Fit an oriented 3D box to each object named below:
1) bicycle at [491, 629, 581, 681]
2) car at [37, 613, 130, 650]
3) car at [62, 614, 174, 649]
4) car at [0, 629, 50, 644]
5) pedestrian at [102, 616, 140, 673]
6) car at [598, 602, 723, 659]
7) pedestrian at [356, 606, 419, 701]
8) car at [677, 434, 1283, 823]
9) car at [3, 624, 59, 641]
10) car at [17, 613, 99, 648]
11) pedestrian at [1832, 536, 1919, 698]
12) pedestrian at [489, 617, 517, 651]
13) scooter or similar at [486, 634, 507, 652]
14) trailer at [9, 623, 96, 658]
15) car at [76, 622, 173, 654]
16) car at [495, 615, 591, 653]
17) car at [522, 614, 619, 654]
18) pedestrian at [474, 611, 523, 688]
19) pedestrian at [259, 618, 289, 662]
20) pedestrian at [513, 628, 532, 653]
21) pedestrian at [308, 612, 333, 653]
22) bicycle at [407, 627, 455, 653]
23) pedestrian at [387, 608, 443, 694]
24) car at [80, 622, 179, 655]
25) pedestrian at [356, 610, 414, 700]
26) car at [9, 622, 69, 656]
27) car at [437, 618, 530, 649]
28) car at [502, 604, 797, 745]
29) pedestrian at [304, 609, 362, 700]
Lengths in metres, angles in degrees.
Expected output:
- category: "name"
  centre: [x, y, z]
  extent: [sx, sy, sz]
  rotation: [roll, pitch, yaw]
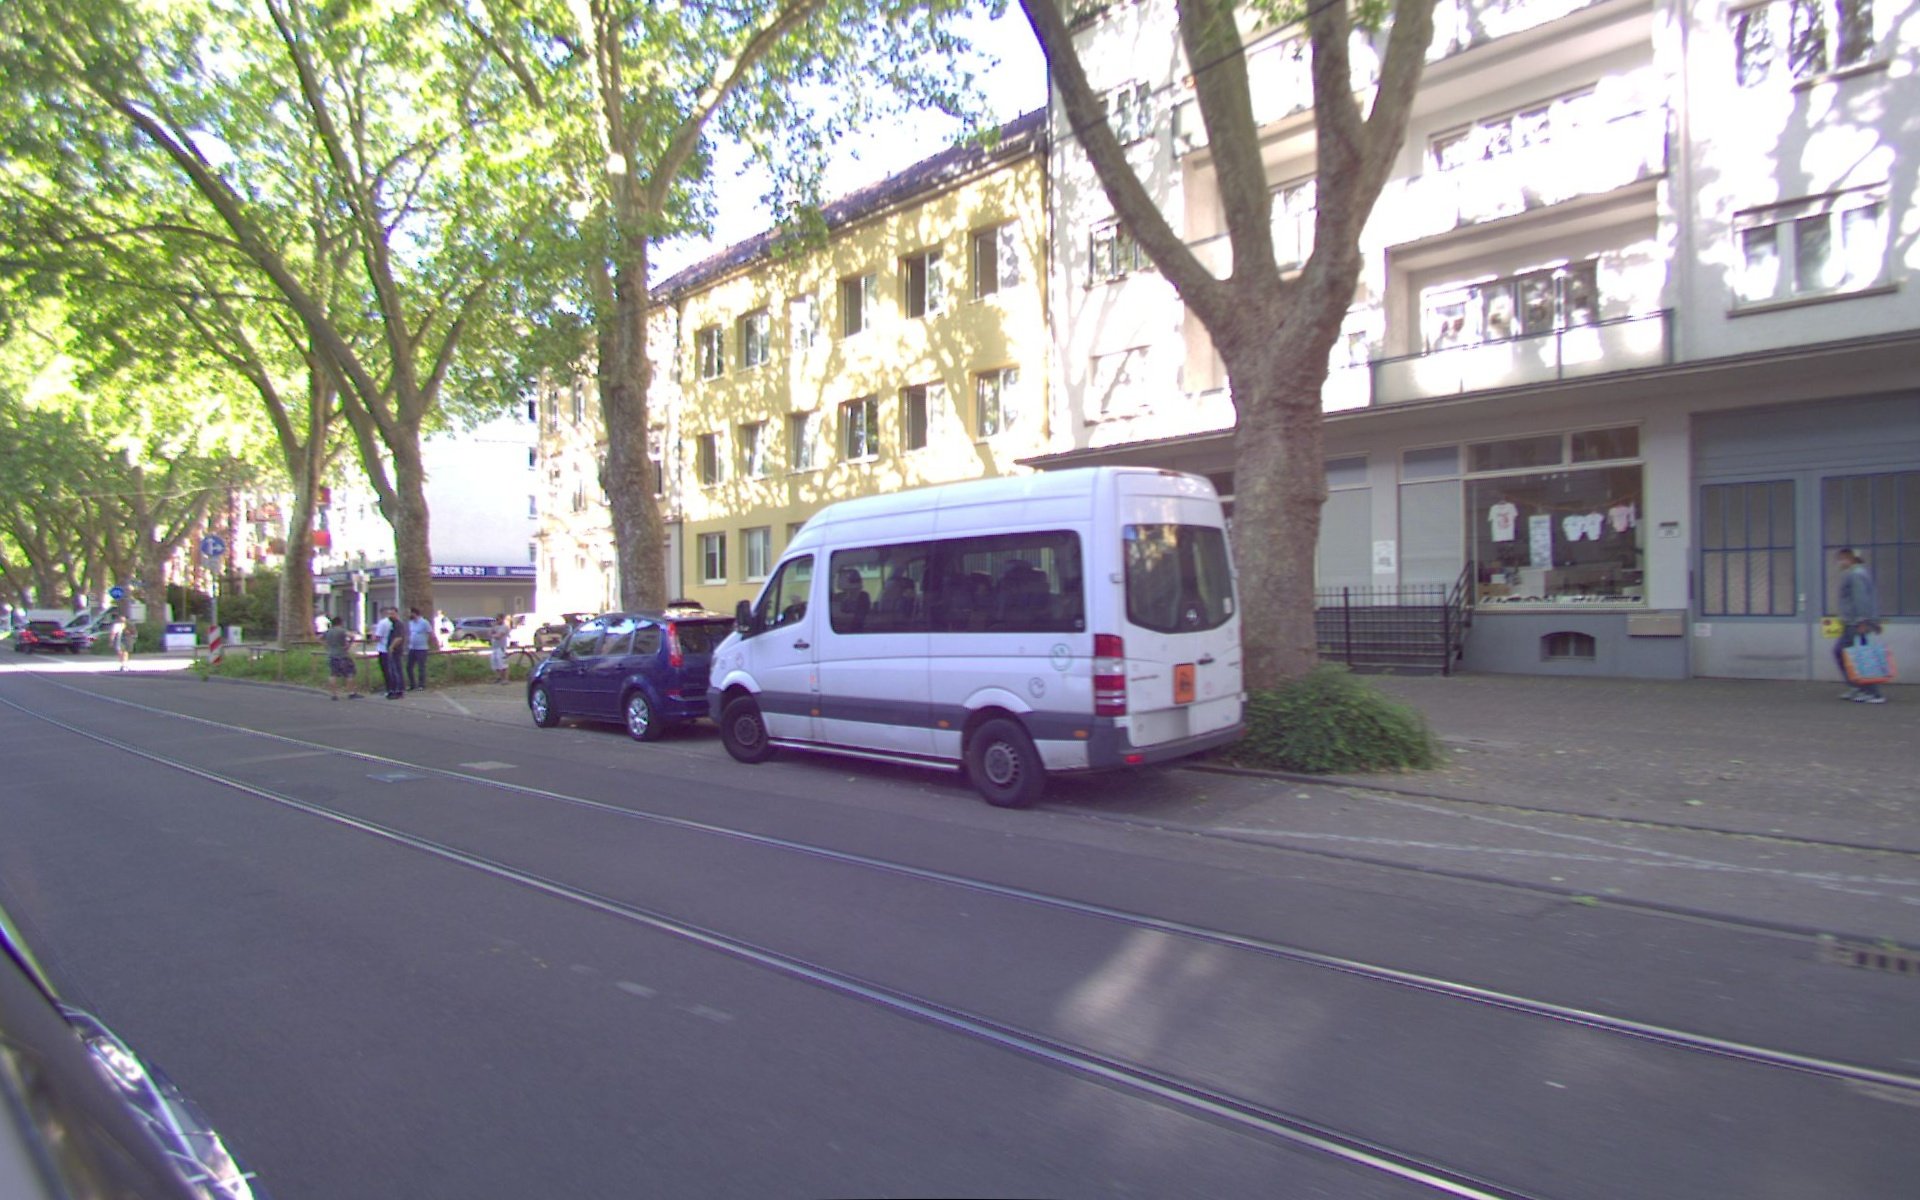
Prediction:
- category: "bicycle"
  centre: [-9.530, 1.229, 22.797]
  extent: [1.820, 1.088, 0.571]
  rotation: [-1, 0, -20]
- category: "car"
  centre: [-59.704, 2.098, 68.993]
  extent: [2.000, 2.323, 4.598]
  rotation: [-1, 0, 43]
- category: "car"
  centre: [-52.768, 1.928, 63.517]
  extent: [1.998, 2.010, 5.070]
  rotation: [-1, 0, 38]
- category: "car"
  centre: [-104.884, 4.045, 113.544]
  extent: [1.999, 1.478, 3.945]
  rotation: [-1, 0, 41]
- category: "pedestrian"
  centre: [-27.187, 1.434, 32.788]
  extent: [0.799, 1.805, 0.693]
  rotation: [-1, 0, 31]
- category: "car"
  centre: [-10.011, 0.967, 33.620]
  extent: [1.971, 1.750, 4.698]
  rotation: [-1, 0, -45]
- category: "pedestrian"
  centre: [-11.020, 1.020, 19.500]
  extent: [0.764, 1.790, 0.710]
  rotation: [-1, 0, 16]
- category: "car"
  centre: [-0.234, 0.213, 9.649]
  extent: [2.083, 2.597, 6.028]
  rotation: [-1, 0, -44]
- category: "car"
  centre: [-92.235, 3.219, 100.481]
  extent: [1.999, 1.478, 3.945]
  rotation: [-1, 0, 41]
- category: "car"
  centre: [-70.311, 2.313, 78.950]
  extent: [2.000, 2.552, 4.598]
  rotation: [-1, 0, 43]
- category: "pedestrian"
  centre: [11.163, 0.199, 12.267]
  extent: [0.863, 1.883, 0.736]
  rotation: [-1, 0, 41]
- category: "pedestrian"
  centre: [-20.589, 1.521, 45.576]
  extent: [1.069, 1.490, 0.764]
  rotation: [-1, 0, 42]
- category: "scooter or similar"
  centre: [-20.537, 1.901, 44.843]
  extent: [0.896, 0.759, 0.522]
  rotation: [-1, 0, 42]
- category: "trailer"
  centre: [-44.992, 1.981, 50.102]
  extent: [6.582, 1.644, 2.420]
  rotation: [-1, -3, 42]
- category: "car"
  centre: [-47.055, 2.113, 57.048]
  extent: [1.999, 1.657, 3.945]
  rotation: [-1, 0, 41]
- category: "car"
  centre: [-20.470, 1.657, 49.799]
  extent: [1.800, 1.650, 3.958]
  rotation: [-6, -3, 42]
- category: "car"
  centre: [-14.813, 1.260, 38.378]
  extent: [3.998, 1.398, 1.761]
  rotation: [-1, 0, 41]
- category: "pedestrian"
  centre: [-9.944, 1.056, 21.838]
  extent: [0.759, 1.622, 0.715]
  rotation: [-1, 0, -5]
- category: "pedestrian"
  centre: [-28.485, 1.643, 42.021]
  extent: [0.724, 1.770, 0.740]
  rotation: [-1, 0, -2]
- category: "pedestrian"
  centre: [-19.163, 1.762, 44.333]
  extent: [0.540, 1.048, 0.541]
  rotation: [-1, 0, 10]
- category: "pedestrian"
  centre: [-28.042, 1.415, 44.388]
  extent: [0.668, 1.793, 0.715]
  rotation: [-1, 0, 34]
- category: "bicycle"
  centre: [-23.860, 1.794, 45.663]
  extent: [0.655, 1.070, 1.845]
  rotation: [-1, 0, 35]
- category: "pedestrian"
  centre: [-11.342, 1.040, 21.061]
  extent: [0.716, 1.748, 0.761]
  rotation: [-1, 0, 36]
- category: "car"
  centre: [-45.330, 2.073, 55.305]
  extent: [1.908, 1.622, 3.945]
  rotation: [-1, 0, 41]
- category: "pedestrian"
  centre: [-11.491, 1.086, 20.250]
  extent: [0.759, 1.748, 0.715]
  rotation: [-1, 0, -5]
- category: "car"
  centre: [-49.046, 2.072, 53.866]
  extent: [4.181, 1.696, 1.902]
  rotation: [-1, -3, 42]
- category: "car"
  centre: [-25.240, 1.746, 53.730]
  extent: [1.834, 1.489, 4.097]
  rotation: [-1, 0, 42]
- category: "car"
  centre: [-4.306, 0.876, 13.684]
  extent: [4.283, 1.573, 1.896]
  rotation: [-1, 0, 43]
- category: "pedestrian"
  centre: [-12.326, 1.053, 19.911]
  extent: [0.702, 1.748, 0.772]
  rotation: [-1, 0, -10]
